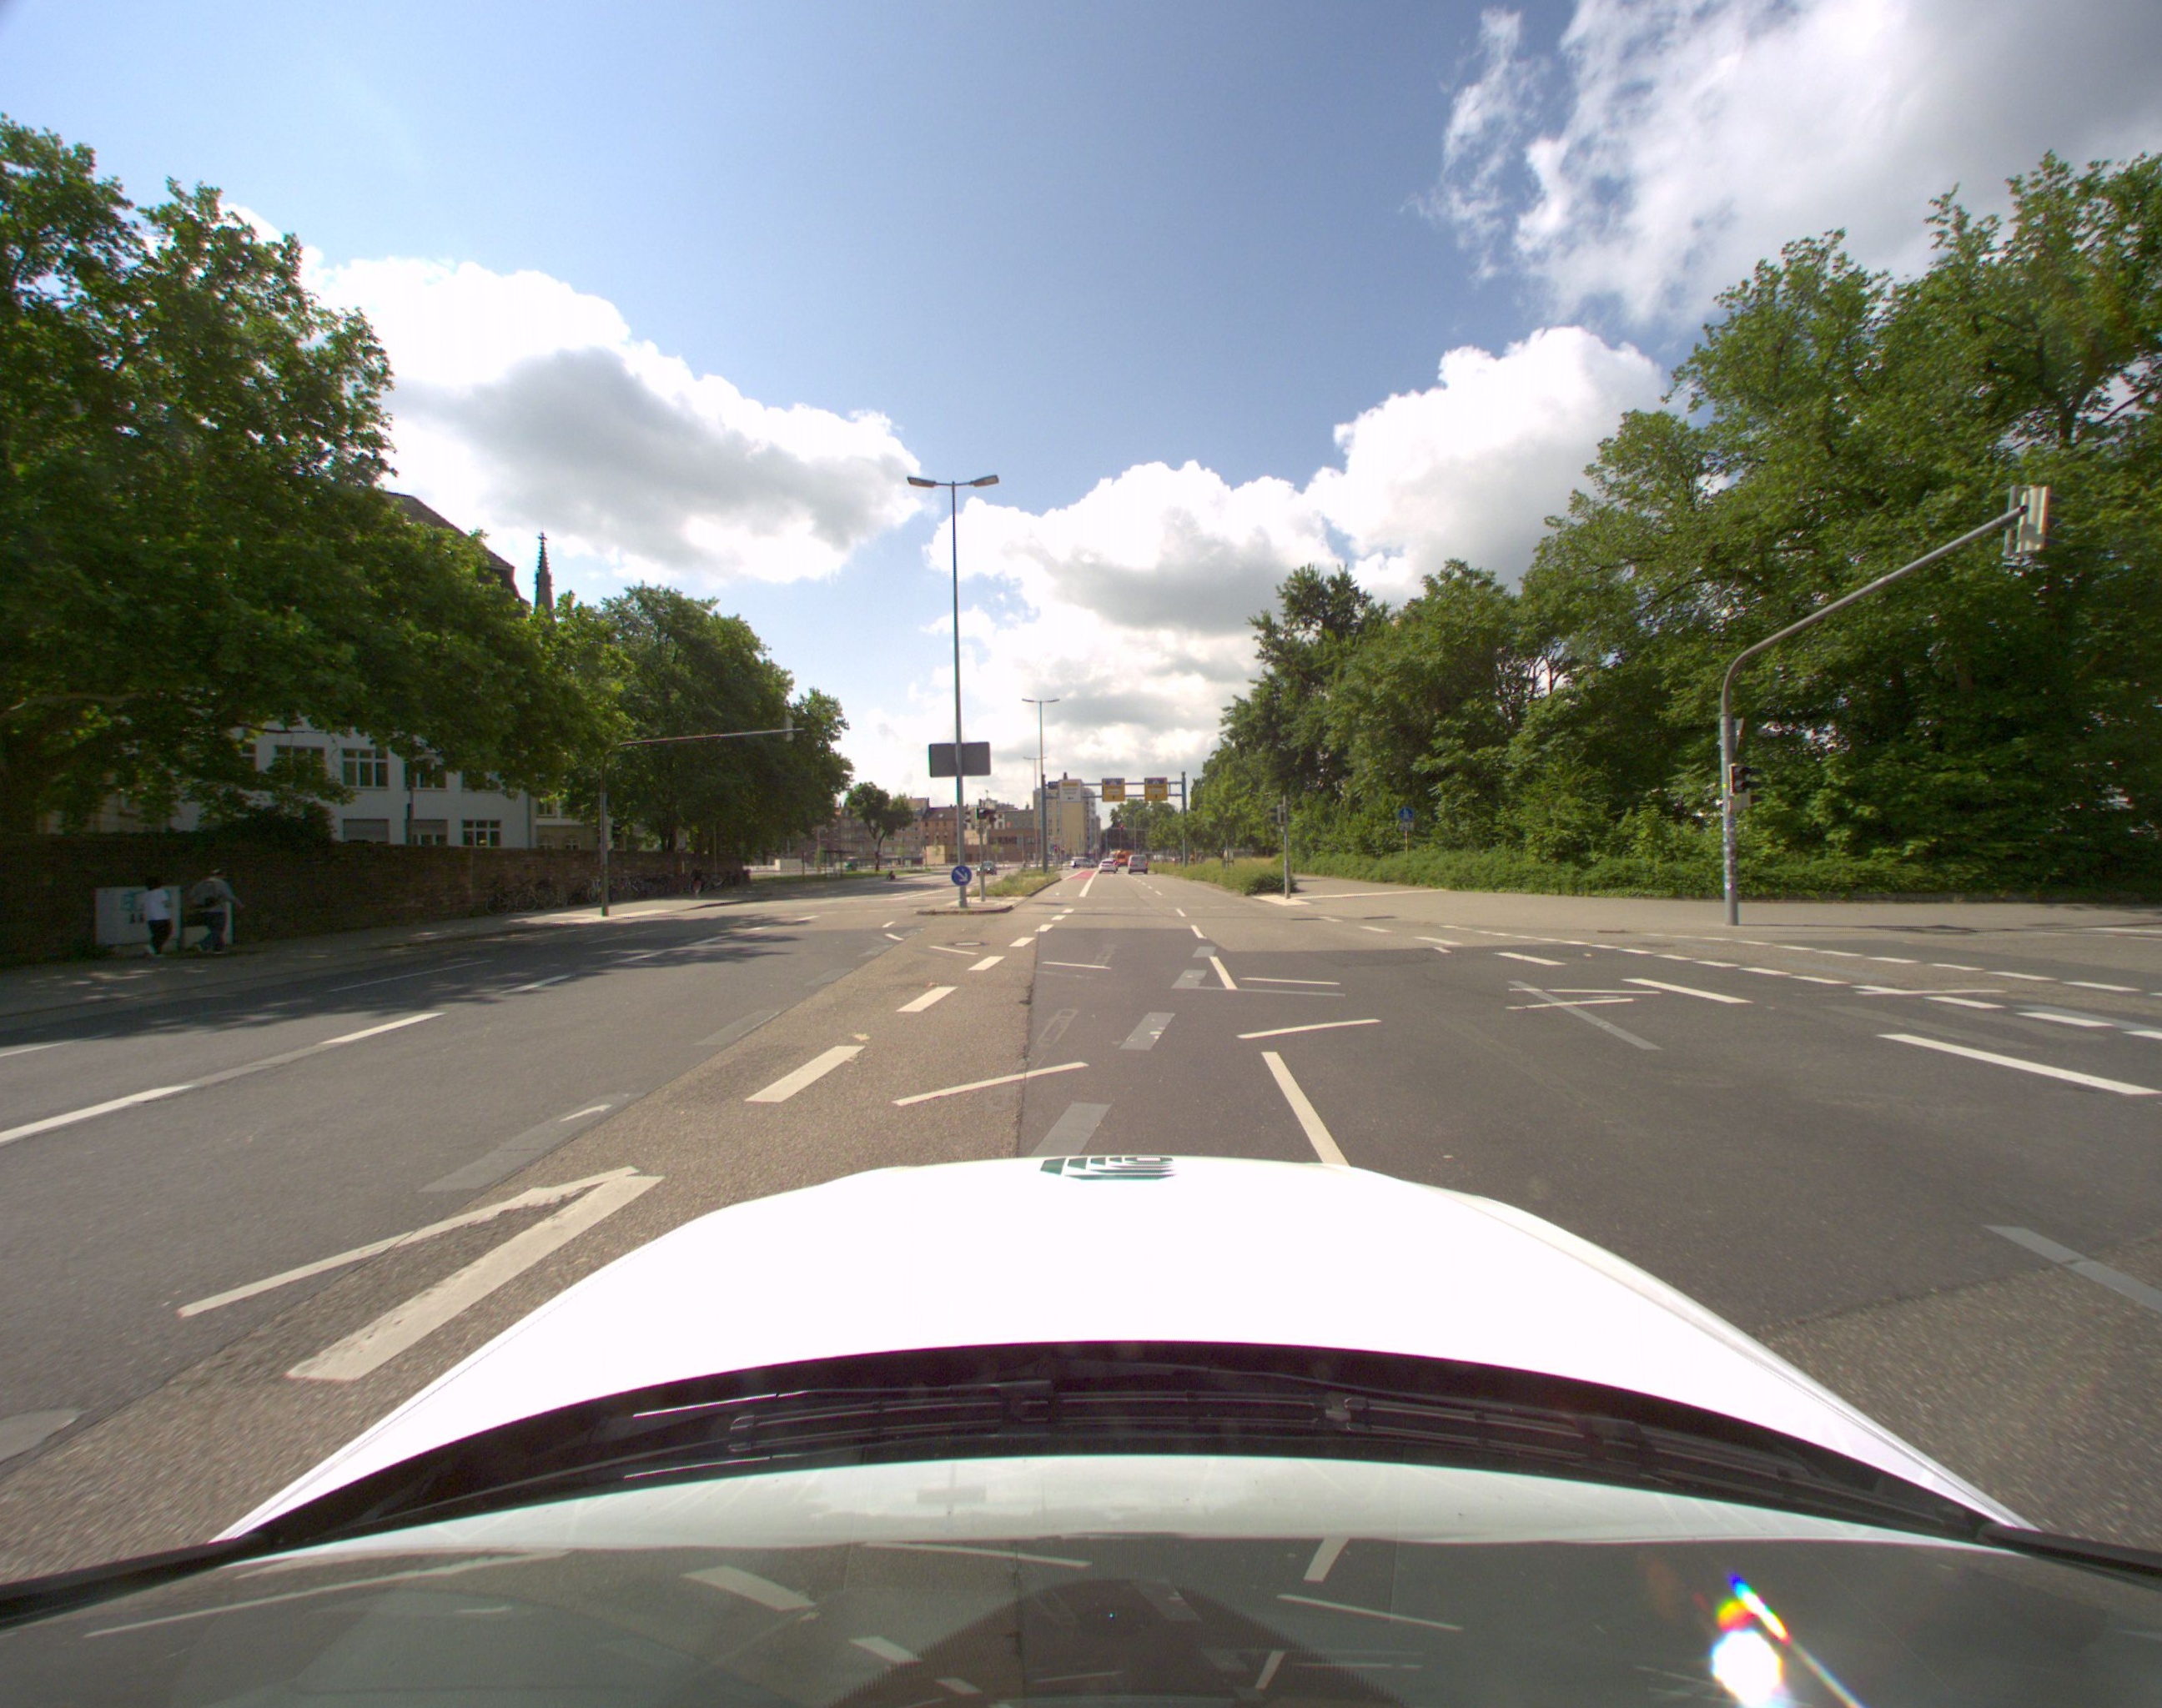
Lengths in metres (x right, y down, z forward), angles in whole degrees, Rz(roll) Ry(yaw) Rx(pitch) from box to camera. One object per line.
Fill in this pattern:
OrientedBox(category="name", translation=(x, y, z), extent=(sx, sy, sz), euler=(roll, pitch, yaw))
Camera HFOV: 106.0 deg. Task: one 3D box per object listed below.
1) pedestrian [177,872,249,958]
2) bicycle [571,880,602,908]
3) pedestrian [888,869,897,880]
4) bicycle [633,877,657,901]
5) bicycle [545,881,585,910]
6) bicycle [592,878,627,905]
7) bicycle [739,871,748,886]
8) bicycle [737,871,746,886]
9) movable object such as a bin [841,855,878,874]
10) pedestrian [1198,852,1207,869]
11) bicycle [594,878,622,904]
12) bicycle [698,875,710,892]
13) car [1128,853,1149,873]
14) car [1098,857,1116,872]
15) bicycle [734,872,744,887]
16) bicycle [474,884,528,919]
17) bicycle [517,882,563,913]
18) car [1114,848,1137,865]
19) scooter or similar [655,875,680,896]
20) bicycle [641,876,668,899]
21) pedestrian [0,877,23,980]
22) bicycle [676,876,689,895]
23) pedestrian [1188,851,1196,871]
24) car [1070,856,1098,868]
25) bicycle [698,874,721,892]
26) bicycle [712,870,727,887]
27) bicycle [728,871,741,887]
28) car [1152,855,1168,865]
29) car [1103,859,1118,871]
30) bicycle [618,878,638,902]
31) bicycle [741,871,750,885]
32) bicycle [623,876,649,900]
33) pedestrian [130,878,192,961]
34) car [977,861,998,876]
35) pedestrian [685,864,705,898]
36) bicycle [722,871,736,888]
OrientedBox(category="pedestrian", translation=(-17.309, 1.198, 16.257), extent=(0.640, 1.651, 0.730), euler=(-2, -1, -5))
OrientedBox(category="bicycle", translation=(-20.298, 1.625, 33.476), extent=(0.370, 1.048, 1.875), euler=(-1, 0, -8))
OrientedBox(category="pedestrian", translation=(-16.898, 1.826, 72.982), extent=(0.692, 0.963, 0.743), euler=(-1, -1, 0))
OrientedBox(category="bicycle", translation=(-20.598, 1.654, 38.485), extent=(0.372, 1.048, 1.875), euler=(-1, 0, -8))
OrientedBox(category="bicycle", translation=(-19.941, 1.588, 31.515), extent=(0.564, 1.048, 1.875), euler=(-1, 0, -8))
OrientedBox(category="bicycle", translation=(-19.812, 1.564, 34.233), extent=(0.591, 1.048, 1.875), euler=(-1, 0, -8))
OrientedBox(category="bicycle", translation=(-26.023, 1.885, 62.825), extent=(0.584, 1.073, 1.743), euler=(-1, 0, -20))
OrientedBox(category="bicycle", translation=(-25.422, 1.861, 60.986), extent=(0.584, 1.073, 1.743), euler=(-1, 0, -20))
OrientedBox(category="movable object such as a bin", translation=(-37.243, 1.756, 136.988), extent=(2.259, 2.885, 5.575), euler=(-3, -1, 45))
OrientedBox(category="pedestrian", translation=(11.073, 0.594, 74.164), extent=(0.621, 1.581, 0.708), euler=(-2, -1, 1))
OrientedBox(category="bicycle", translation=(-20.580, 1.600, 35.448), extent=(0.370, 1.048, 1.875), euler=(-1, 0, -8))
OrientedBox(category="bicycle", translation=(-22.743, 1.761, 49.108), extent=(0.367, 0.955, 1.395), euler=(-1, 0, -14))
OrientedBox(category="car", translation=(5.726, 0.856, 81.606), extent=(1.934, 1.870, 4.828), euler=(-2, 0, 2))
OrientedBox(category="car", translation=(2.773, 1.091, 86.074), extent=(1.896, 1.424, 4.387), euler=(-2, 0, 2))
OrientedBox(category="bicycle", translation=(-24.869, 1.828, 59.278), extent=(0.584, 1.073, 1.743), euler=(-1, 0, -20))
OrientedBox(category="bicycle", translation=(-19.245, 1.567, 27.068), extent=(0.629, 1.048, 1.875), euler=(-1, 0, -8))
OrientedBox(category="bicycle", translation=(-19.594, 1.554, 29.538), extent=(0.629, 1.048, 1.875), euler=(-1, 0, -8))
OrientedBox(category="car", translation=(7.649, 0.449, 139.267), extent=(2.110, 2.781, 4.666), euler=(-3, -1, 26))
OrientedBox(category="scooter or similar", translation=(-21.484, 1.626, 42.351), extent=(0.580, 1.048, 1.875), euler=(-1, 0, -8))
OrientedBox(category="bicycle", translation=(-21.179, 1.652, 40.431), extent=(0.580, 1.048, 1.875), euler=(-1, 0, -8))
OrientedBox(category="pedestrian", translation=(-17.782, 1.213, 13.092), extent=(0.559, 1.651, 0.726), euler=(-2, -1, -5))
OrientedBox(category="bicycle", translation=(-21.715, 1.708, 44.387), extent=(0.367, 0.955, 1.395), euler=(-1, 0, -14))
OrientedBox(category="pedestrian", translation=(10.099, 0.658, 73.957), extent=(0.565, 1.802, 0.639), euler=(-2, -1, 1))
OrientedBox(category="car", translation=(0.429, 1.269, 130.167), extent=(3.997, 1.816, 1.988), euler=(2, -1, -18))
OrientedBox(category="bicycle", translation=(-21.887, 1.701, 48.042), extent=(0.364, 0.955, 1.629), euler=(-2, 0, 10))
OrientedBox(category="bicycle", translation=(-23.573, 1.609, 53.098), extent=(0.583, 1.073, 1.747), euler=(-1, 0, -14))
OrientedBox(category="bicycle", translation=(-24.478, 1.766, 57.519), extent=(0.583, 1.073, 1.746), euler=(-1, 0, -16))
OrientedBox(category="car", translation=(17.315, 1.360, 178.520), extent=(1.987, 1.967, 4.666), euler=(-3, -1, 26))
OrientedBox(category="car", translation=(3.673, 1.339, 100.277), extent=(1.784, 1.539, 4.013), euler=(0, 0, 2))
OrientedBox(category="bicycle", translation=(-20.317, 1.604, 36.580), extent=(0.594, 1.048, 1.866), euler=(-1, -1, -24))
OrientedBox(category="bicycle", translation=(-27.063, 1.904, 65.696), extent=(0.584, 1.073, 1.620), euler=(-1, 0, -20))
OrientedBox(category="bicycle", translation=(-20.969, 1.601, 38.392), extent=(0.393, 1.048, 1.875), euler=(-1, 0, -8))
OrientedBox(category="pedestrian", translation=(-17.748, 1.254, 15.722), extent=(0.475, 1.540, 0.615), euler=(-2, -1, -5))
OrientedBox(category="car", translation=(-9.829, 1.545, 85.854), extent=(1.694, 1.445, 4.146), euler=(-3, 0, 1))
OrientedBox(category="pedestrian", translation=(-18.302, 1.261, 38.608), extent=(0.655, 1.610, 0.743), euler=(0, -1, -7))
OrientedBox(category="bicycle", translation=(-24.026, 1.724, 55.562), extent=(0.583, 1.073, 1.747), euler=(-1, 0, -14))
